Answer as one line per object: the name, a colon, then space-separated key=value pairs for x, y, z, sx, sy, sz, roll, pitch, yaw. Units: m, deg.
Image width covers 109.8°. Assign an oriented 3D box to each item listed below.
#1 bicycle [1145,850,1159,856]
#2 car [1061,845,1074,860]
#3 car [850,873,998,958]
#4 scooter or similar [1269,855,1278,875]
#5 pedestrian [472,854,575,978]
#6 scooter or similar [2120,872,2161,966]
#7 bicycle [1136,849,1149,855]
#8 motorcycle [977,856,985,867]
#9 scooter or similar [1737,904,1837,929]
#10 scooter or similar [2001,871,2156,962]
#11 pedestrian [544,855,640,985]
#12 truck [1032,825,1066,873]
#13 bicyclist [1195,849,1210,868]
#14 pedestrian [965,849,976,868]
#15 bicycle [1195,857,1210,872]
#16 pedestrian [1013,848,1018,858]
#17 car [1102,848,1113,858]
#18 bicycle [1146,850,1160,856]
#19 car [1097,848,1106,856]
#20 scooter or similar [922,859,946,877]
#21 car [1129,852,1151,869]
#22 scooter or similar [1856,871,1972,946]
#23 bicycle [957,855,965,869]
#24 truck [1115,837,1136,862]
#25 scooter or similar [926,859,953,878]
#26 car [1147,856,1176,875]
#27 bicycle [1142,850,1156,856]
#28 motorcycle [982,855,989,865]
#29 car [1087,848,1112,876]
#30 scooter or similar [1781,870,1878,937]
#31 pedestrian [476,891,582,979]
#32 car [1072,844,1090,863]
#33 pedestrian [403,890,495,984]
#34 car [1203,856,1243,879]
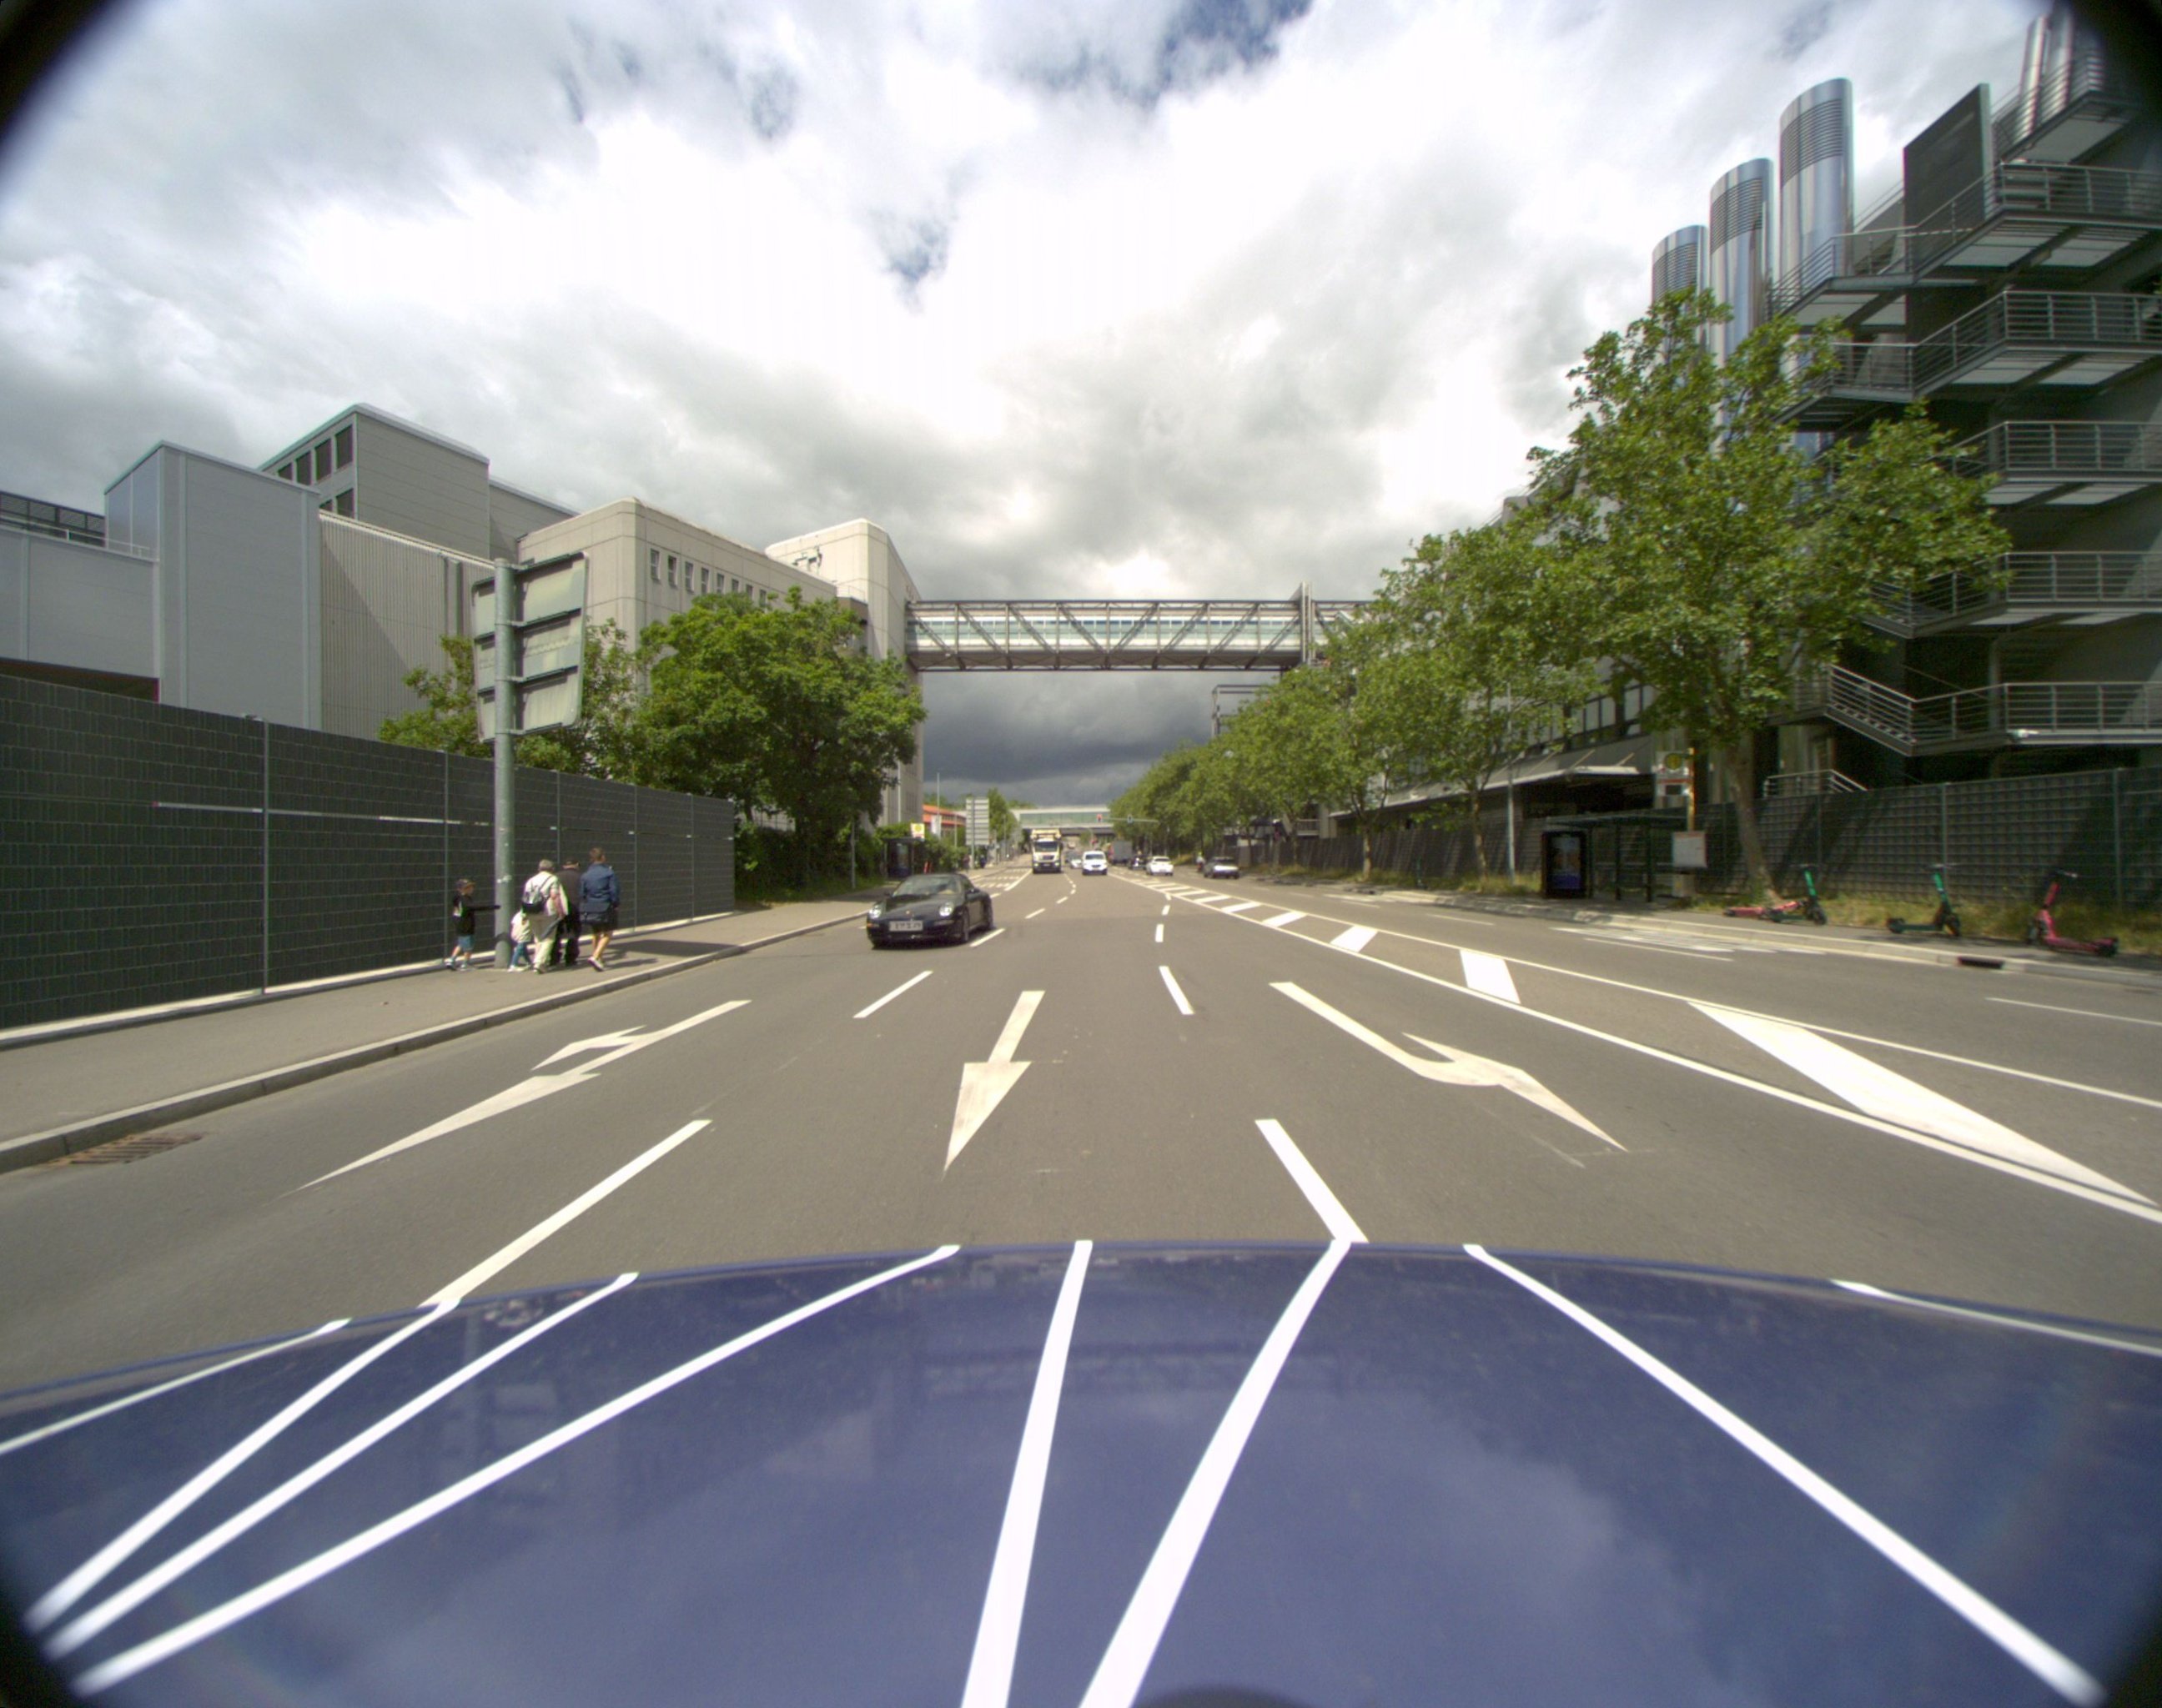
bicycle: x=13.521 y=-0.203 z=144.027 sx=2.561 sy=1.079 sz=0.616 roll=-2 pitch=1 yaw=4
car: x=-1.972 y=-0.227 z=112.091 sx=1.872 sy=1.944 sz=4.710 roll=-3 pitch=1 yaw=0
car: x=-2.912 y=1.101 z=14.979 sx=1.838 sy=1.317 sz=4.001 roll=-2 pitch=0 yaw=3
scooter or similar: x=13.585 y=0.770 z=53.659 sx=0.304 sy=1.395 sz=1.235 roll=-2 pitch=1 yaw=-1
pedestrian: x=-7.568 y=0.818 z=10.350 sx=0.797 sy=1.588 sz=0.731 roll=-2 pitch=1 yaw=-5
scooter or similar: x=14.760 y=0.880 z=9.944 sx=0.524 sy=1.227 sz=1.318 roll=-4 pitch=0 yaw=5
bicycle: x=12.670 y=-0.399 z=156.640 sx=2.562 sy=1.171 sz=0.615 roll=-2 pitch=1 yaw=-1
motorcycle: x=-10.551 y=0.760 z=79.935 sx=0.592 sy=1.061 sz=2.036 roll=1 pitch=1 yaw=-1
scooter or similar: x=15.324 y=1.353 z=16.564 sx=1.361 sy=0.378 sz=1.493 roll=-4 pitch=-1 yaw=34
scooter or similar: x=14.802 y=0.896 z=11.326 sx=0.524 sy=1.227 sz=1.318 roll=-4 pitch=0 yaw=1
pedestrian: x=-6.775 y=0.884 z=10.572 sx=0.797 sy=1.711 sz=0.731 roll=-2 pitch=1 yaw=-5
truck: x=-2.768 y=-0.501 z=68.782 sx=2.713 sy=3.863 sz=10.738 roll=-2 pitch=1 yaw=-1
bicyclist: x=10.671 y=0.379 z=66.800 sx=0.958 sy=1.588 sz=1.222 roll=1 pitch=1 yaw=-4
pedestrian: x=-9.560 y=0.417 z=65.877 sx=0.812 sy=1.635 sz=0.997 roll=1 pitch=1 yaw=-3
bicycle: x=10.643 y=0.902 z=66.569 sx=0.738 sy=1.227 sz=2.472 roll=1 pitch=1 yaw=-3
pedestrian: x=-11.096 y=-0.148 z=128.709 sx=0.729 sy=1.756 sz=1.015 roll=-2 pitch=1 yaw=-1
car: x=4.862 y=-0.232 z=139.062 sx=1.740 sy=1.674 sz=4.212 roll=-2 pitch=1 yaw=-2
bicycle: x=13.684 y=-0.151 z=145.065 sx=2.561 sy=1.079 sz=0.616 roll=-2 pitch=1 yaw=6
car: x=4.064 y=-0.480 z=150.266 sx=1.562 sy=1.496 sz=3.612 roll=1 pitch=1 yaw=-1
scooter or similar: x=-9.464 y=0.879 z=49.005 sx=0.542 sy=1.156 sz=1.795 roll=1 pitch=0 yaw=26
car: x=5.954 y=0.622 z=76.990 sx=1.744 sy=1.572 sz=4.266 roll=1 pitch=1 yaw=-1
scooter or similar: x=14.794 y=0.931 z=13.533 sx=0.524 sy=1.227 sz=1.317 roll=-4 pitch=0 yaw=-2
bicycle: x=-10.974 y=0.741 z=69.551 sx=0.444 sy=1.173 sz=2.468 roll=-2 pitch=1 yaw=-1
truck: x=5.673 y=-0.622 z=98.279 sx=2.458 sy=3.111 sz=7.243 roll=-2 pitch=1 yaw=2
scooter or similar: x=-8.958 y=0.898 z=48.290 sx=0.542 sy=1.156 sz=2.131 roll=1 pitch=0 yaw=26
car: x=6.191 y=0.851 z=58.683 sx=1.696 sy=1.407 sz=4.144 roll=1 pitch=0 yaw=-1
bicycle: x=13.158 y=-0.157 z=147.026 sx=2.564 sy=1.079 sz=0.615 roll=-2 pitch=1 yaw=-10
motorcycle: x=-10.841 y=0.647 z=86.211 sx=0.592 sy=1.061 sz=2.037 roll=1 pitch=0 yaw=-1
car: x=1.408 y=0.607 z=57.639 sx=1.824 sy=2.001 sz=4.392 roll=-1 pitch=-1 yaw=1
scooter or similar: x=14.796 y=0.952 z=15.061 sx=0.524 sy=1.227 sz=1.317 roll=-4 pitch=0 yaw=-2
pedestrian: x=-7.959 y=1.146 z=11.000 sx=0.759 sy=1.142 sz=0.971 roll=-2 pitch=1 yaw=2
car: x=-0.020 y=-0.077 z=82.773 sx=1.872 sy=1.944 sz=4.710 roll=-2 pitch=1 yaw=0
pedestrian: x=-8.699 y=1.128 z=10.482 sx=0.598 sy=1.200 sz=0.716 roll=-2 pitch=1 yaw=2
car: x=9.812 y=0.907 z=52.760 sx=1.883 sy=1.497 sz=4.190 roll=1 pitch=0 yaw=-2
